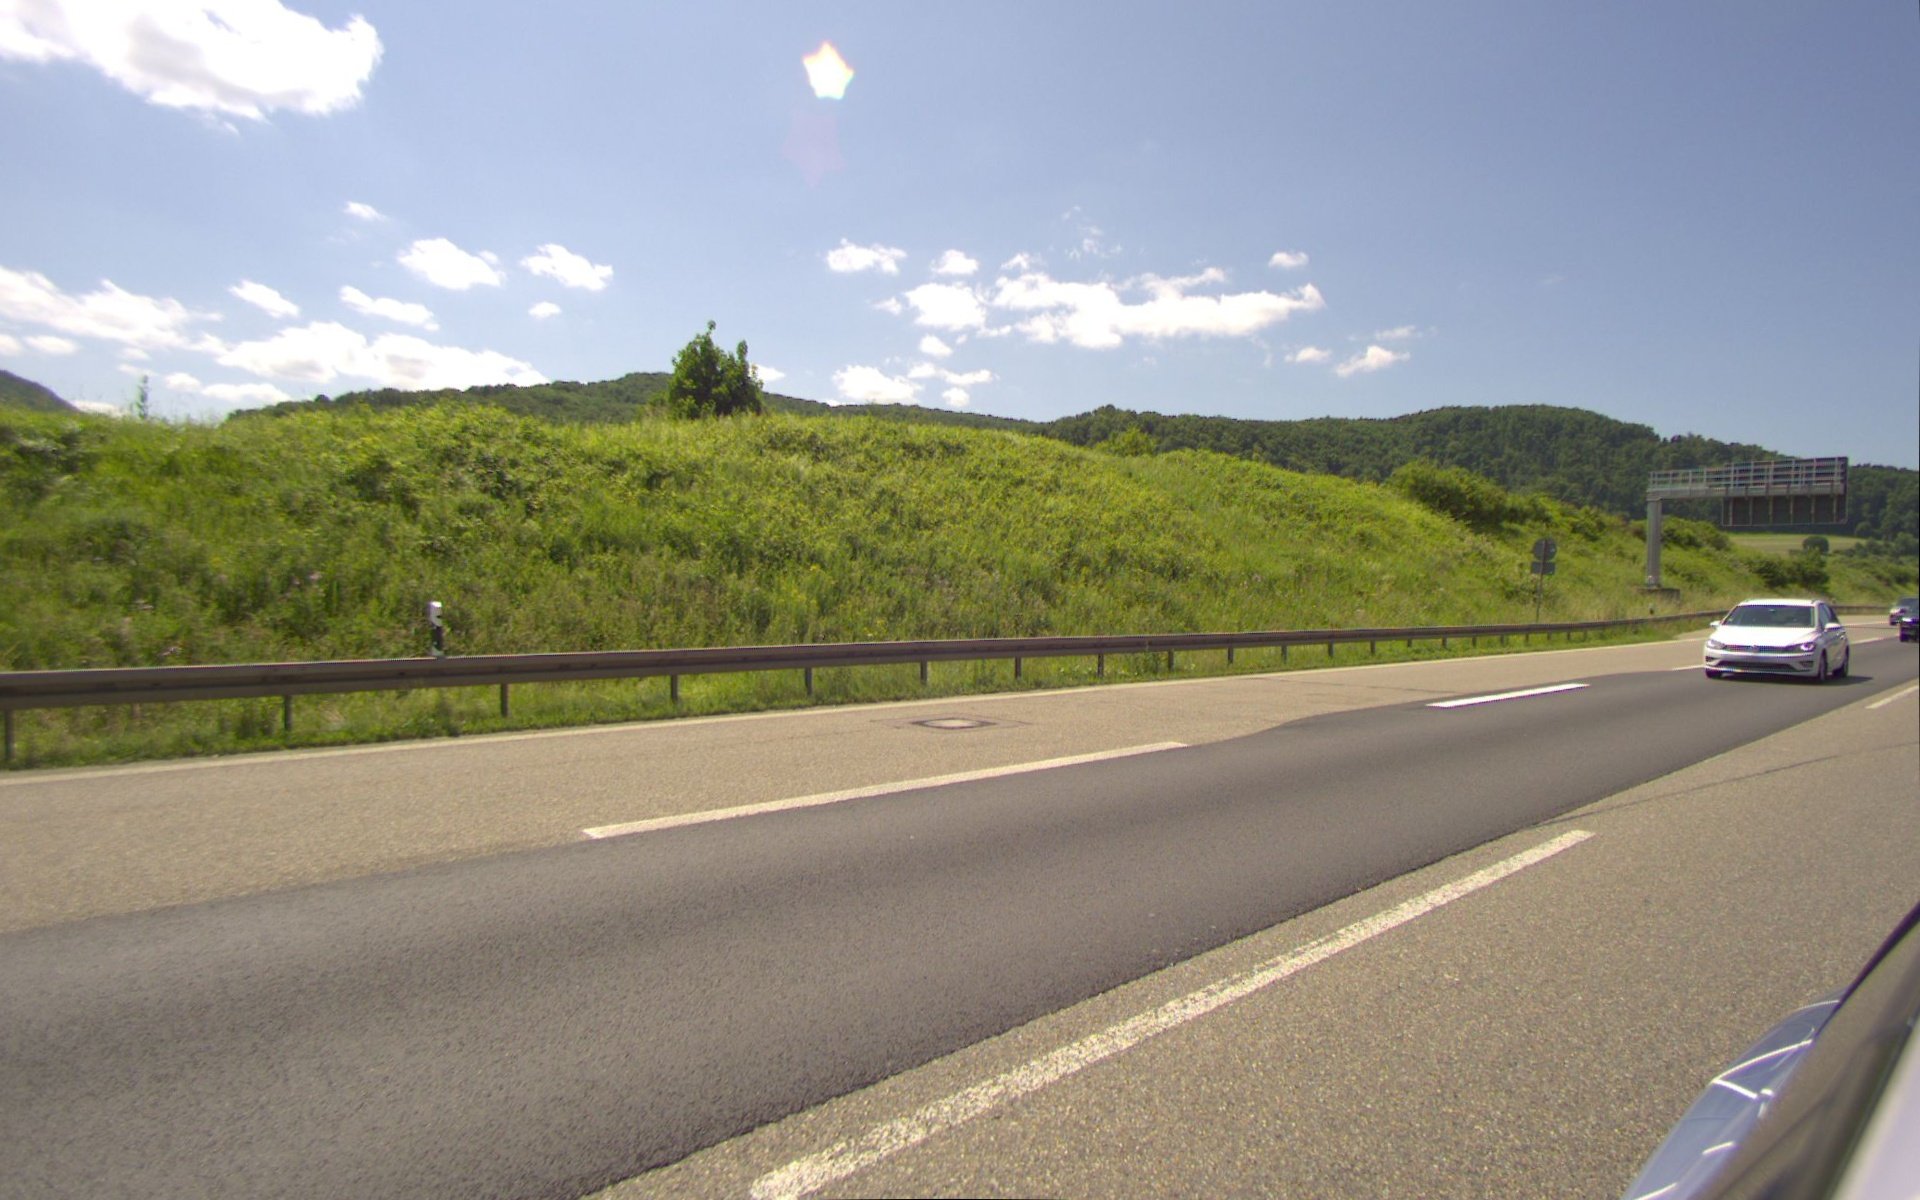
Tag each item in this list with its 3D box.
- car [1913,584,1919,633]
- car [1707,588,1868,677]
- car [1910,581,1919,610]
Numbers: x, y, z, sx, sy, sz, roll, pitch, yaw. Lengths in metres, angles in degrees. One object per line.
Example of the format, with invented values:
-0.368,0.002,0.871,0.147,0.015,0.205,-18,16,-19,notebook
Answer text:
37.492,0.321,38.121,4.098,1.794,1.892,0,1,-41,car
16.168,0.545,19.713,3.983,1.560,1.775,-1,0,-41,car
54.533,-0.276,56.845,1.679,1.615,4.183,0,0,43,car
